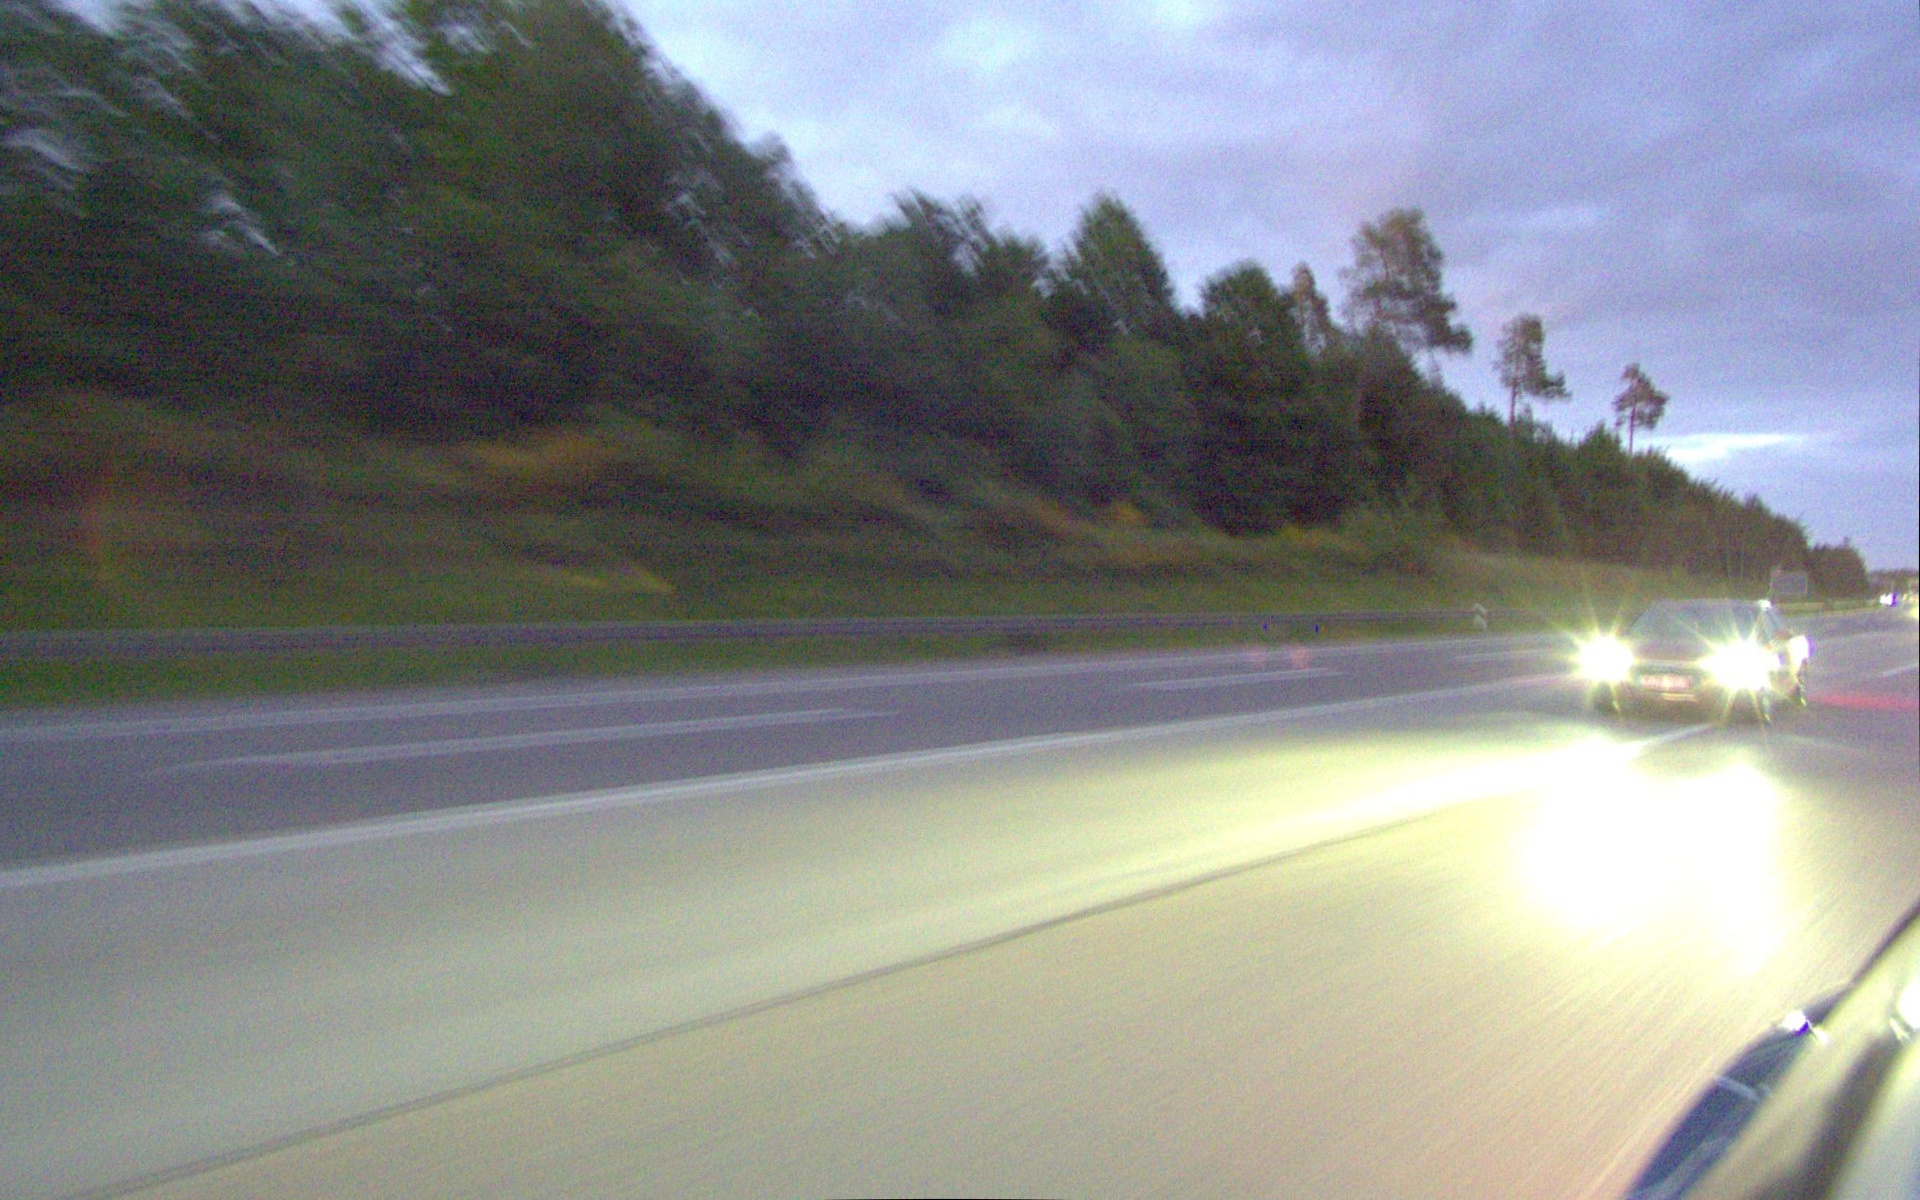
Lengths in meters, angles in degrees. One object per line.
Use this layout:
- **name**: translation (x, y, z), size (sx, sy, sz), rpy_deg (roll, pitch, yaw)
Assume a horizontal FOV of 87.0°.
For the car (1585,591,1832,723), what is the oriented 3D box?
- **car**: translation (10.072, 0.628, 13.488), size (4.376, 1.461, 1.877), rpy_deg (0, 1, -43)
